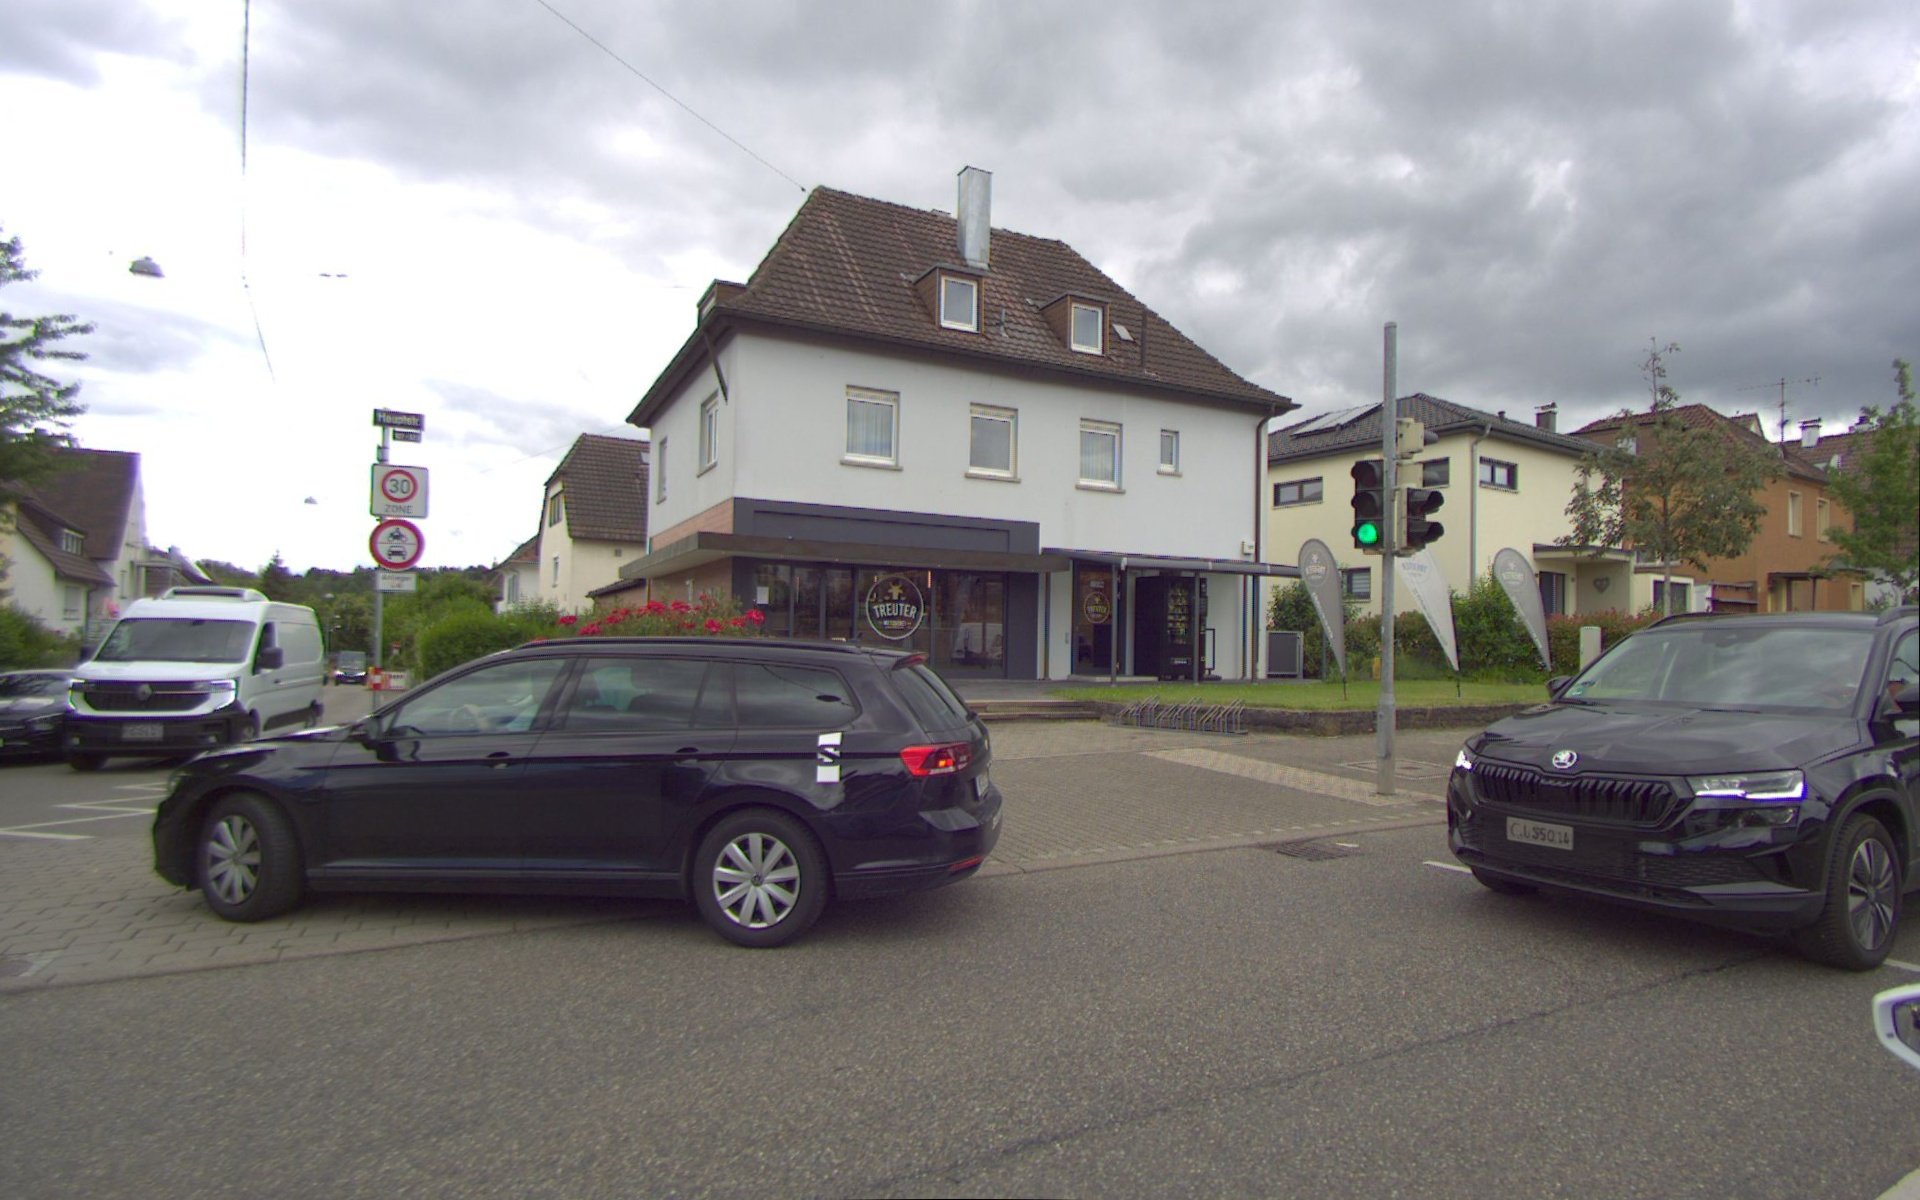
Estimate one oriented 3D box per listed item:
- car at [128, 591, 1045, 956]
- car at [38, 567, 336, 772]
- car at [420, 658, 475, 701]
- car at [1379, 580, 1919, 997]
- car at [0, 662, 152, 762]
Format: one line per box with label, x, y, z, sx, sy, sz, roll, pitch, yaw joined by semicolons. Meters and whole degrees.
car;-1.838;0.821;5.825;4.553;1.642;2.002;0;-2;7
car;-11.682;1.086;15.766;2.099;2.596;5.597;2;-4;-21
car;-20.020;3.050;39.181;1.789;1.541;3.723;1;-3;-29
car;4.542;0.808;5.763;3.950;1.645;1.888;1;-2;-28
car;-14.467;1.716;15.831;1.773;1.371;4.109;-1;-3;-26
